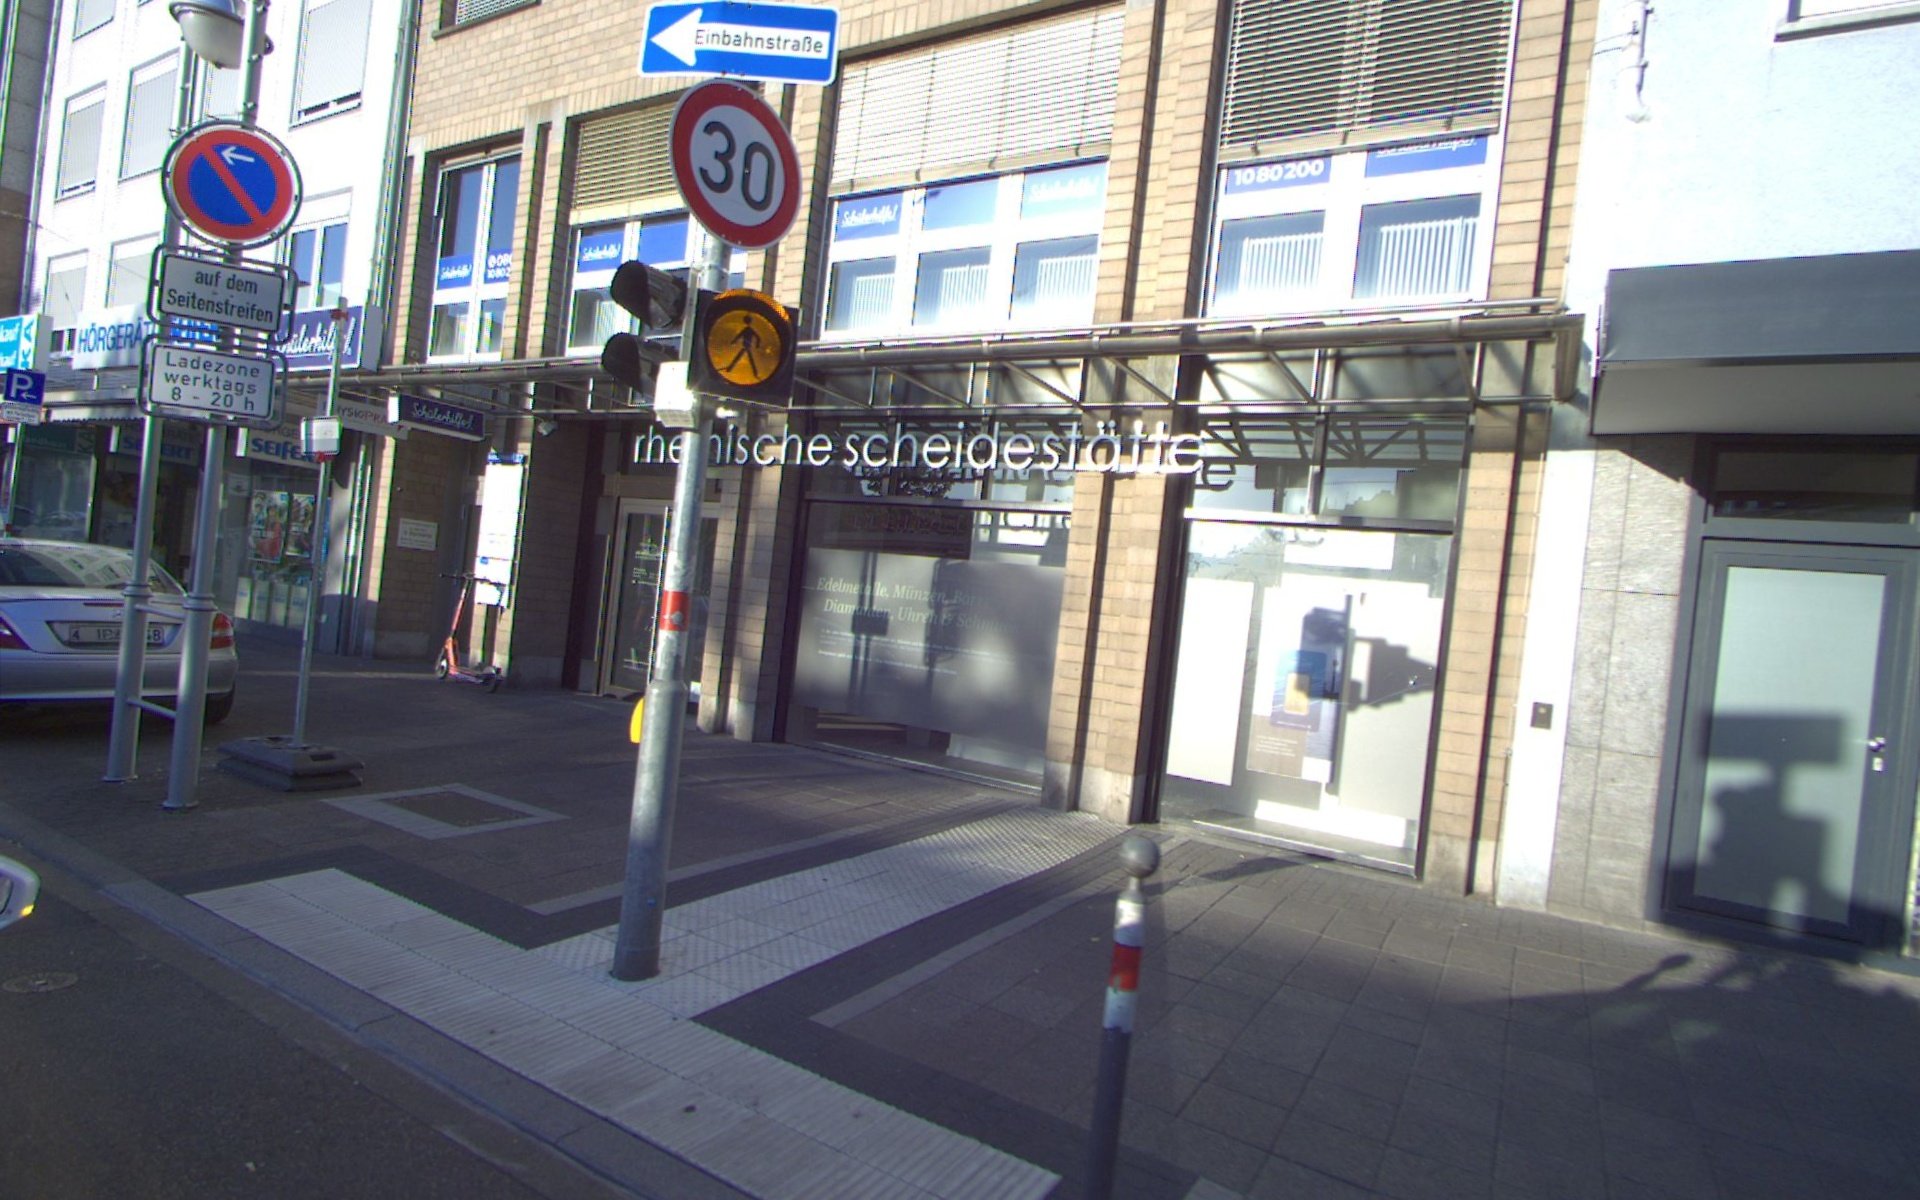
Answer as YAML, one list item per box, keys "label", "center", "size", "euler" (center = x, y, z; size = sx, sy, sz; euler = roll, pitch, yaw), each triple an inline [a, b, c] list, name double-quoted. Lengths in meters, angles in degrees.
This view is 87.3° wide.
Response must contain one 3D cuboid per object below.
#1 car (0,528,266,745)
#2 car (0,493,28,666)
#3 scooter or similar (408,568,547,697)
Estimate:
- label: "car"
  center: [-7.140, 0.127, 7.631]
  size: [3.999, 1.298, 1.675]
  euler: [5, -1, 34]
- label: "car"
  center: [-11.227, -0.426, 9.929]
  size: [4.216, 1.624, 1.767]
  euler: [6, -1, 31]
- label: "scooter or similar"
  center: [-5.184, 0.335, 10.787]
  size: [1.546, 1.198, 0.461]
  euler: [6, 0, 30]
